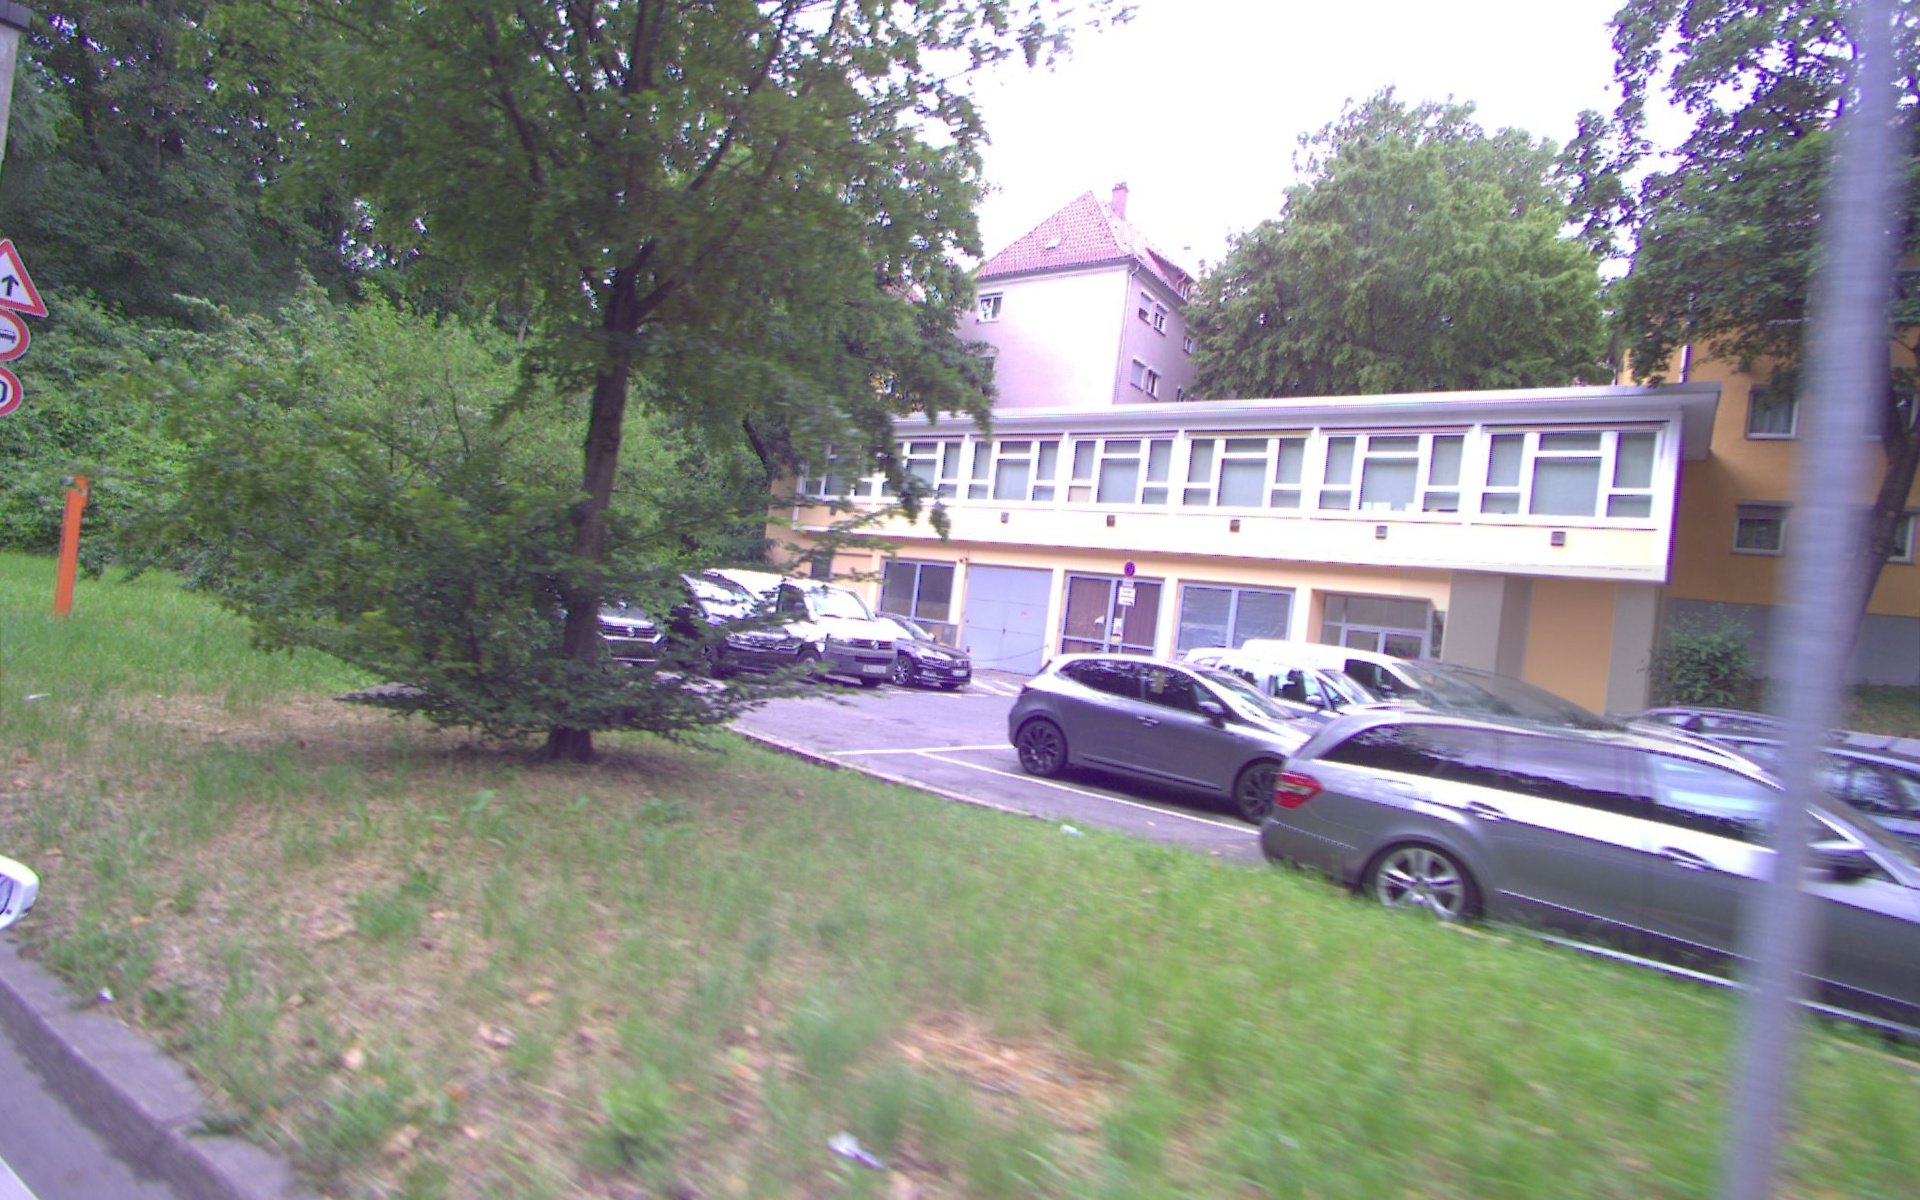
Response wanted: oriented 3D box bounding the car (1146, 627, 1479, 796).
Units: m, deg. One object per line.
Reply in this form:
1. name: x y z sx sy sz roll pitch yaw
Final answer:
1. car: 4.923 1.501 14.391 3.950 1.460 1.803 11 3 43

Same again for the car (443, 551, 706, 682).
1. car: -6.653 0.230 17.107 4.810 1.687 1.807 6 1 37

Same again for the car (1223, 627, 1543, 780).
1. car: 6.603 1.557 16.009 4.185 1.460 1.803 11 3 43

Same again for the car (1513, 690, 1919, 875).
1. car: 9.909 2.238 13.109 4.343 1.463 1.783 7 0 41

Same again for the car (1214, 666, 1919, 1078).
1. car: 4.302 1.488 6.025 4.985 1.460 1.785 7 0 37

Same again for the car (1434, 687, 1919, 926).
1. car: 7.287 1.888 9.728 4.524 1.395 1.785 7 0 37

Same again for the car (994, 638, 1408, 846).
1. car: 2.486 1.372 10.779 3.839 1.459 1.743 6 -1 37

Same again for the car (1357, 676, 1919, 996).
1. car: 5.825 1.733 7.994 4.524 1.577 1.785 7 0 37

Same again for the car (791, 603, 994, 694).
1. car: -1.553 1.047 22.252 4.262 1.443 1.796 6 -2 38

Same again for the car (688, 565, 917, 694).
1. car: -3.269 0.548 20.393 4.495 2.038 1.856 6 -1 38

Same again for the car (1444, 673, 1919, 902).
1. car: 8.273 1.980 11.683 4.343 1.613 1.783 7 0 41

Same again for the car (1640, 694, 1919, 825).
1. car: 14.109 2.669 17.335 3.603 1.523 1.655 7 0 25

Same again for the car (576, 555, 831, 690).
1. car: -4.871 0.373 18.767 4.810 1.901 1.857 6 -1 37
